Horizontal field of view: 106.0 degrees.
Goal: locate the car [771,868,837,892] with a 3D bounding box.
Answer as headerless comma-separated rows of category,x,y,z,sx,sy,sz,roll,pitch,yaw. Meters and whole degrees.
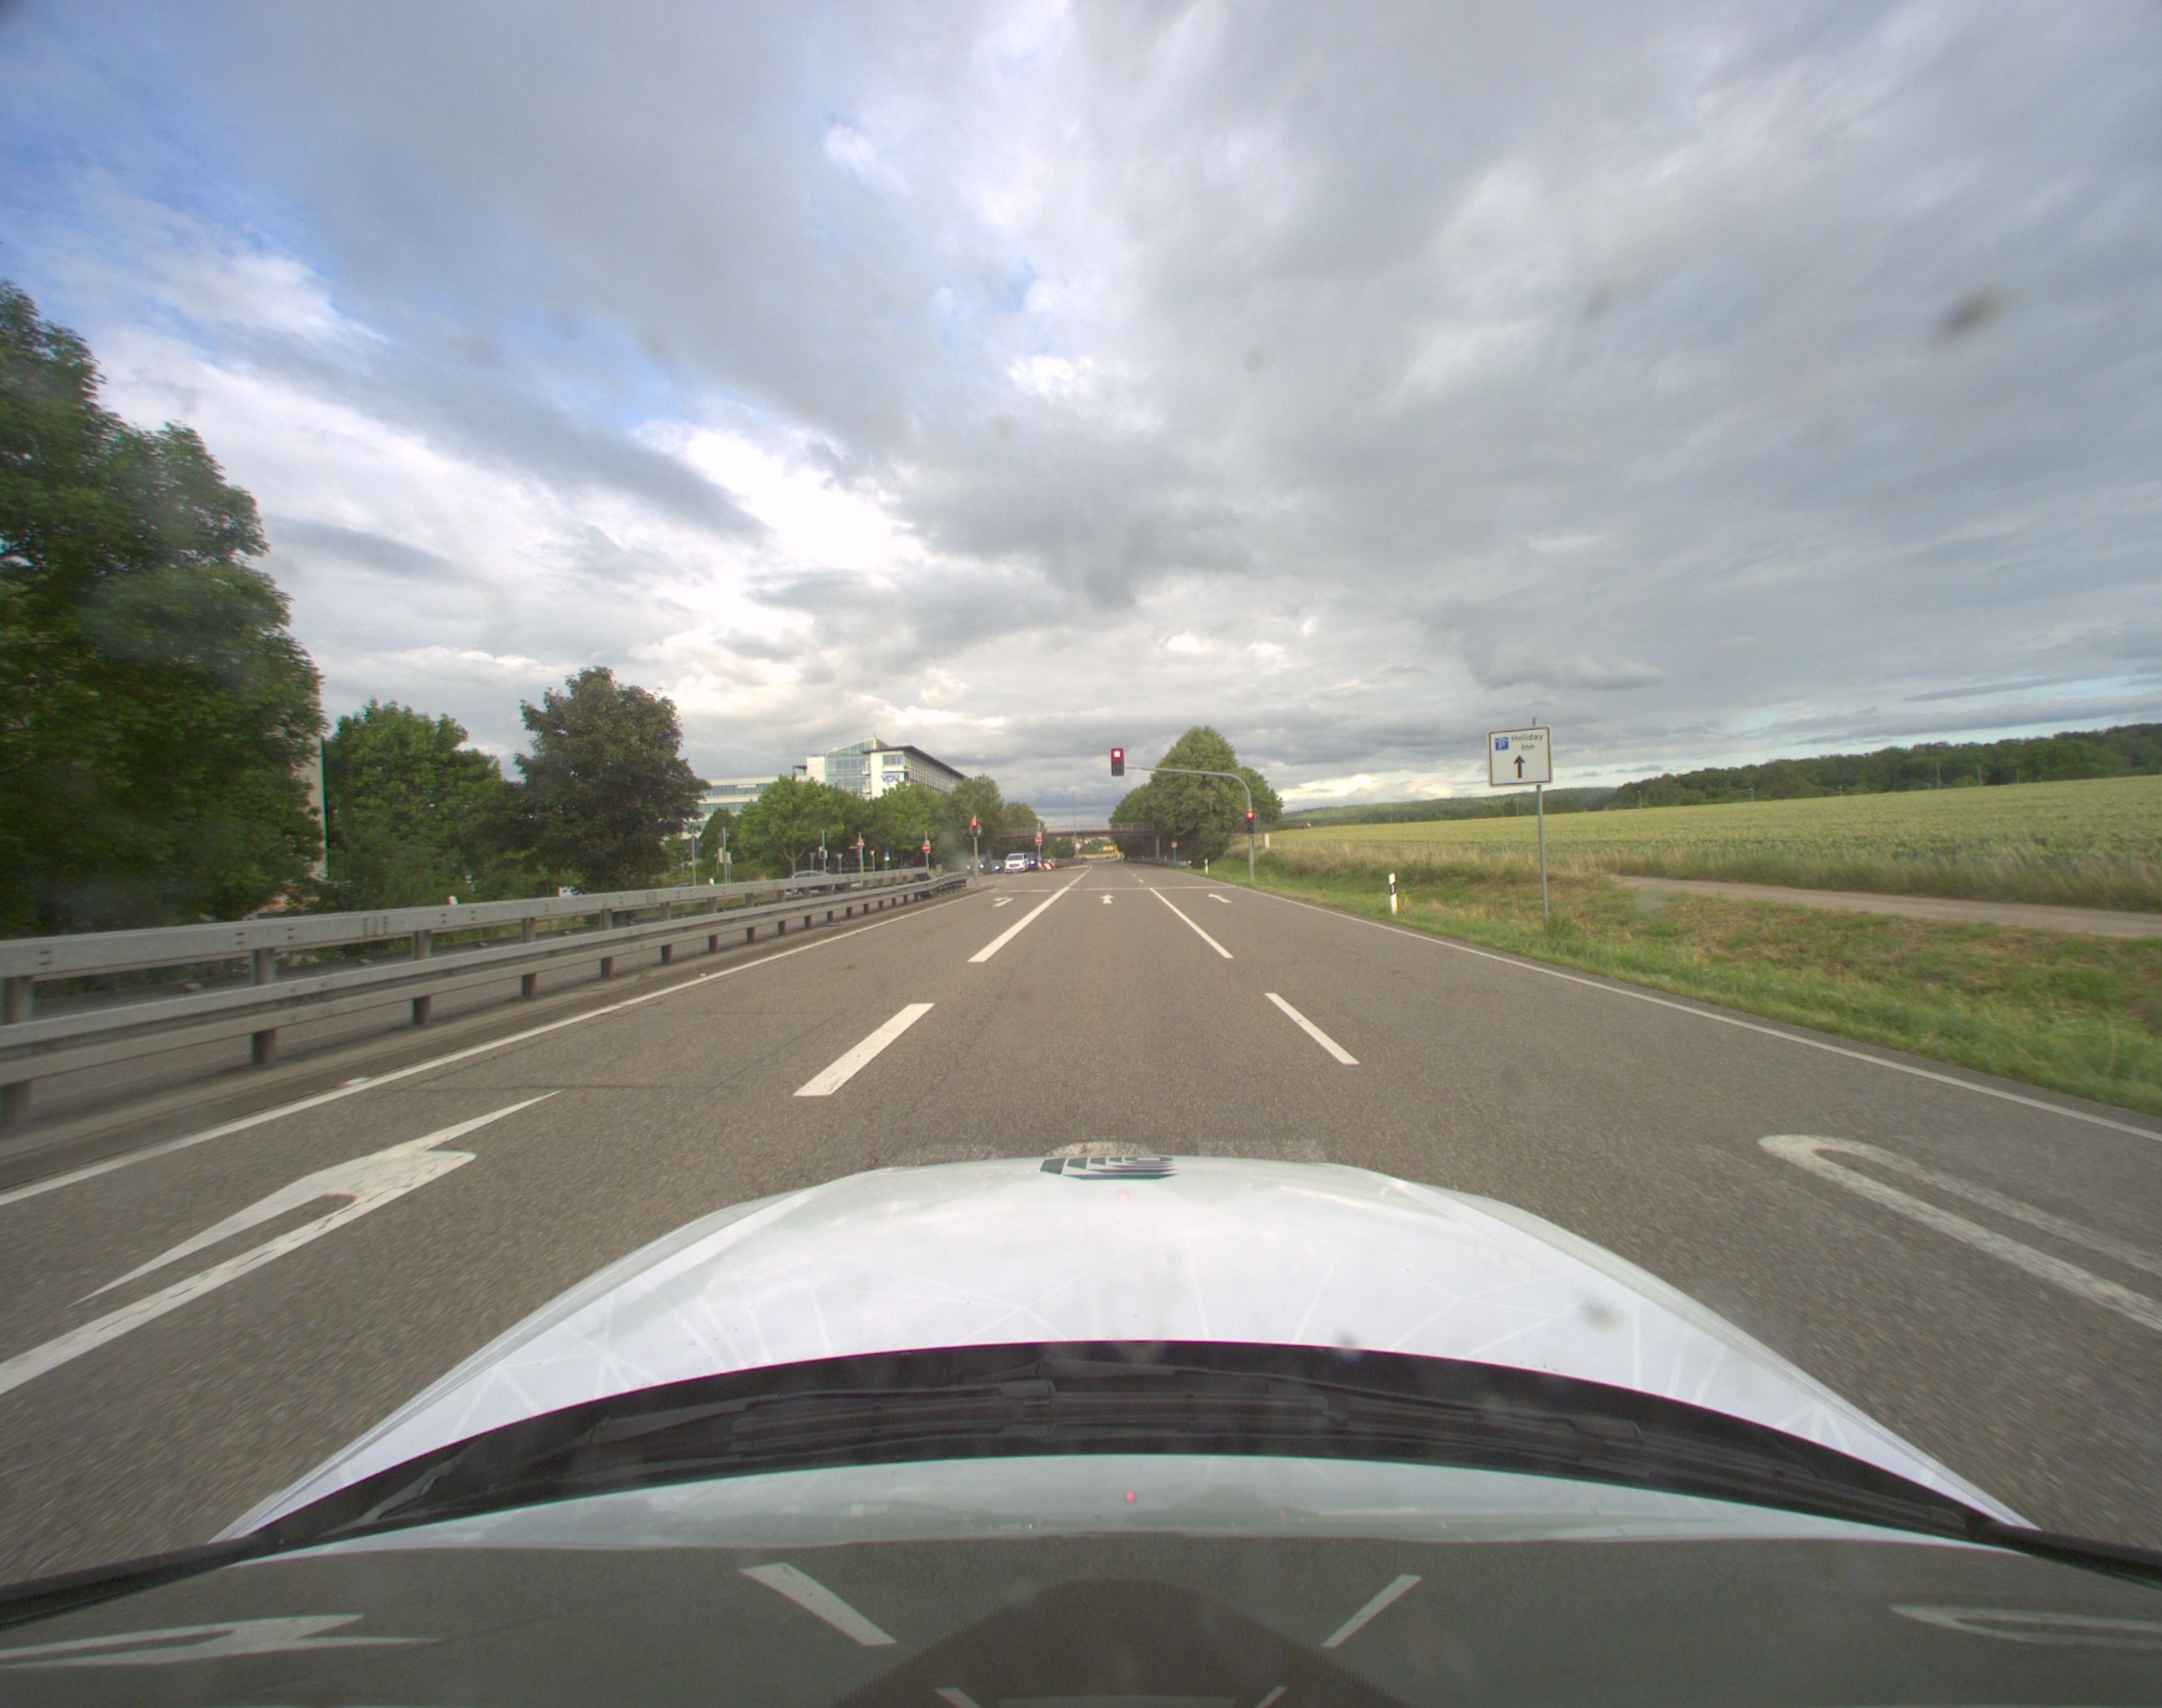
car,-19.375,1.814,57.106,3.980,1.552,1.883,0,-1,-5

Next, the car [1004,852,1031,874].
car,-6.124,0.873,78.972,2.076,2.014,5.216,0,-1,1

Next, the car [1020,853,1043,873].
car,-5.198,0.972,86.690,2.076,2.014,5.216,0,-1,1

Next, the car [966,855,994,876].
car,-9.744,1.110,78.951,2.076,2.014,5.216,0,-1,1

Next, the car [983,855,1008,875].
car,-9.038,1.165,86.439,2.076,2.014,5.216,0,-1,1
